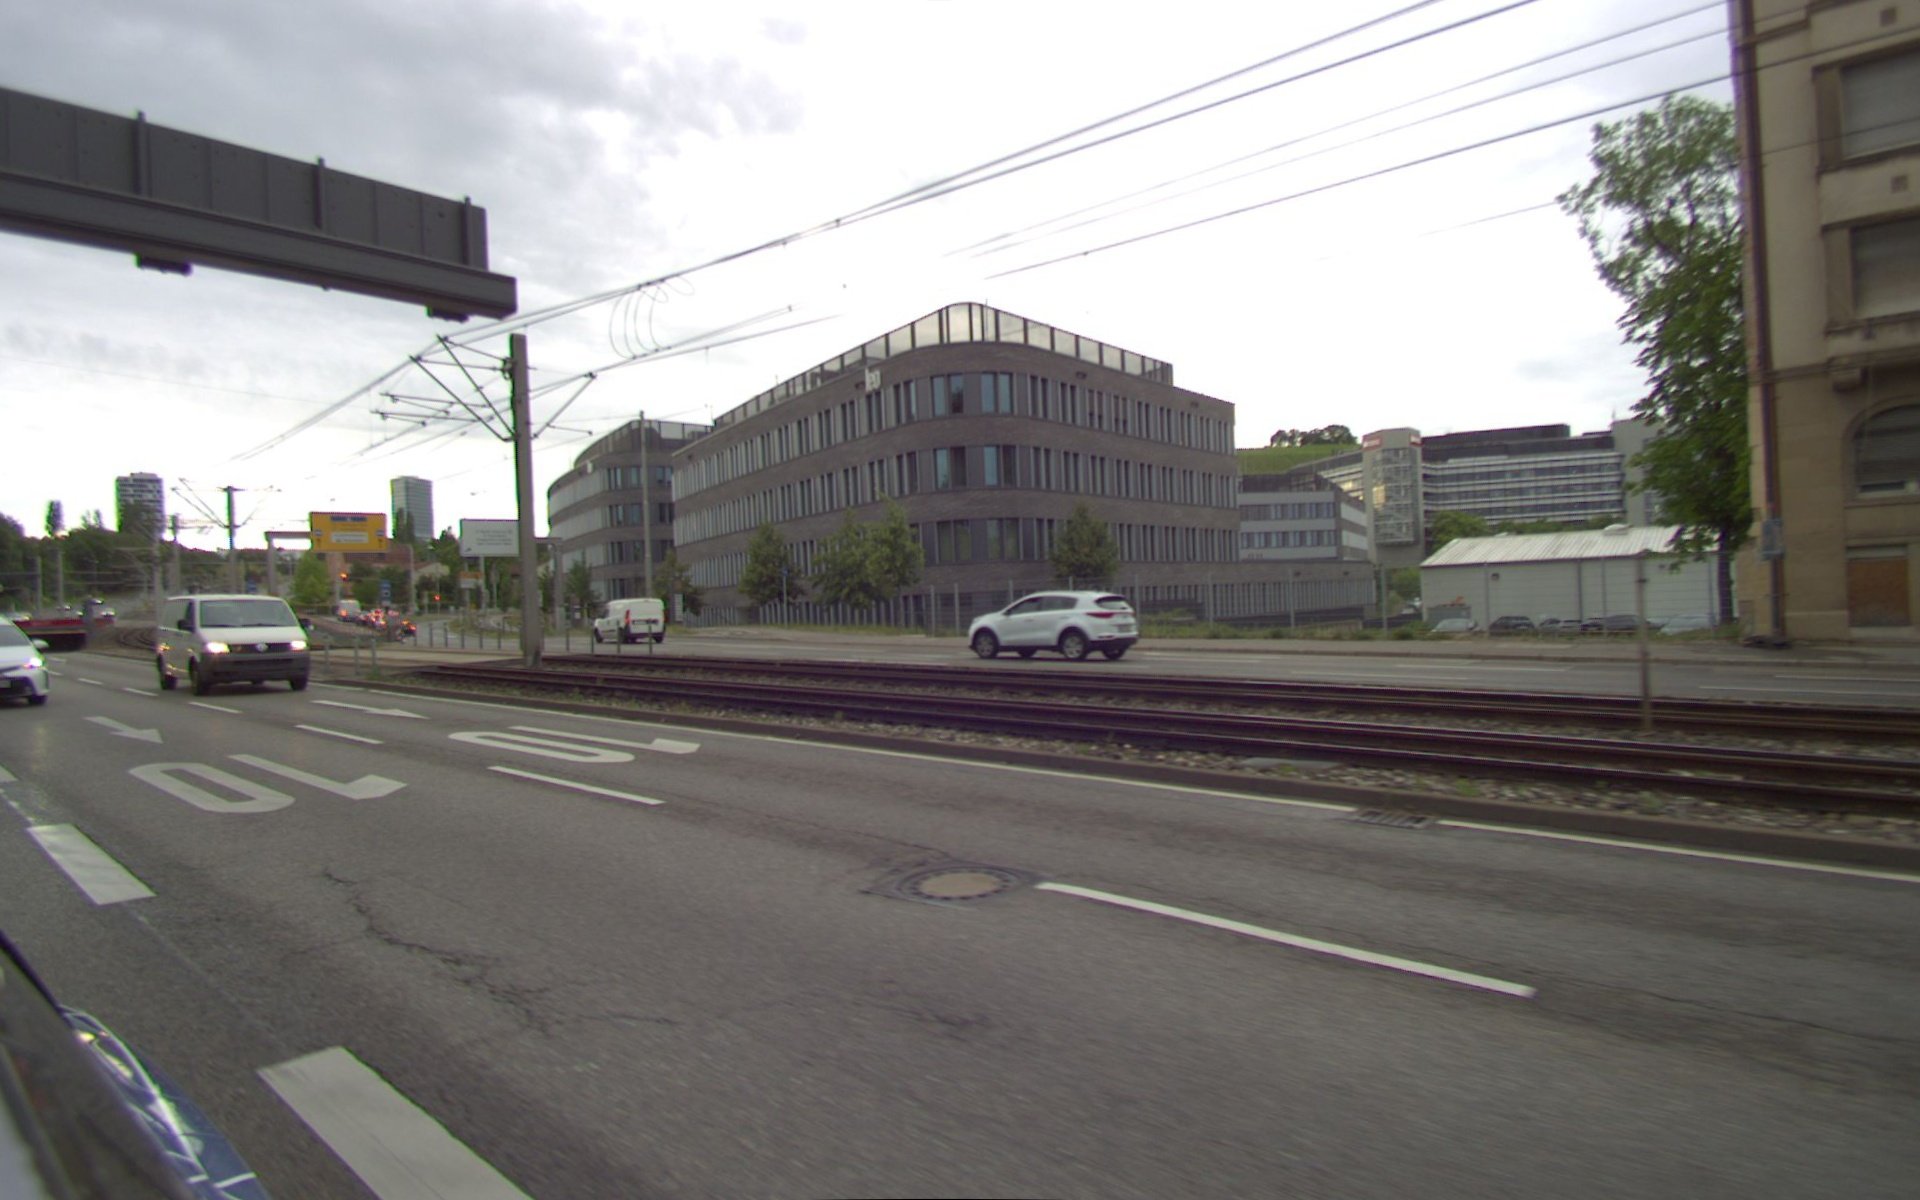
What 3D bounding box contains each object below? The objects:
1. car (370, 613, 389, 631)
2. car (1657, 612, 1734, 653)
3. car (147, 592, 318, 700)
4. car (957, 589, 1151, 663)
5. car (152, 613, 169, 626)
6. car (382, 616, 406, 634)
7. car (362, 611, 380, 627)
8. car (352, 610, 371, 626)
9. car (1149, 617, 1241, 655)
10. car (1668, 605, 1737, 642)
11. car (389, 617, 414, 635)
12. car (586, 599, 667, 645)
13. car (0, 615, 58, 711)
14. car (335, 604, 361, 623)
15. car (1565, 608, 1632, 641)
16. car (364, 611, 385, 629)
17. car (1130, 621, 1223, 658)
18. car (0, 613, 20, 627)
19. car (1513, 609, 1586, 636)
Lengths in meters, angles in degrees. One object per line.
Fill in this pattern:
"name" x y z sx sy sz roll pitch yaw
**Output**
"car" -63.162 2.369 110.035 1.643 1.918 4.011 0 0 -32
"car" 29.968 1.271 41.210 3.938 1.524 1.748 0 0 -42
"car" -15.074 0.884 20.870 4.716 1.973 1.889 -1 0 42
"car" 2.197 0.608 24.490 4.485 1.609 1.727 -1 0 41
"car" -127.177 3.082 161.003 1.968 1.962 4.007 0 0 -40
"car" -59.595 2.658 106.542 1.807 1.811 4.226 1 -2 -34
"car" -70.081 2.299 120.372 1.643 1.833 4.010 0 0 -34
"car" -75.107 2.243 126.977 1.643 1.918 4.010 0 0 -36
"car" 11.228 1.690 48.489 3.998 1.666 1.722 -1 0 41
"car" 36.367 1.117 49.569 3.936 1.666 1.750 0 0 -38
"car" -56.463 2.620 102.343 1.807 1.811 4.226 1 -2 -34
"car" -14.036 0.933 42.424 1.808 1.811 4.222 1 -2 -40
"car" -17.776 1.103 18.096 4.317 1.585 1.956 -1 0 42
"car" -79.930 1.747 132.128 2.301 2.486 7.043 0 0 -36
"car" 33.627 1.264 53.261 3.936 1.666 1.750 0 0 -38
"car" -66.479 2.250 114.925 1.644 1.918 4.009 0 0 -36
"car" 9.834 1.764 46.168 3.787 1.556 1.722 -1 0 41
"car" -147.350 3.092 156.853 3.998 2.029 1.973 -1 0 41
"car" 38.990 1.471 67.001 3.994 1.666 1.724 -1 0 38
